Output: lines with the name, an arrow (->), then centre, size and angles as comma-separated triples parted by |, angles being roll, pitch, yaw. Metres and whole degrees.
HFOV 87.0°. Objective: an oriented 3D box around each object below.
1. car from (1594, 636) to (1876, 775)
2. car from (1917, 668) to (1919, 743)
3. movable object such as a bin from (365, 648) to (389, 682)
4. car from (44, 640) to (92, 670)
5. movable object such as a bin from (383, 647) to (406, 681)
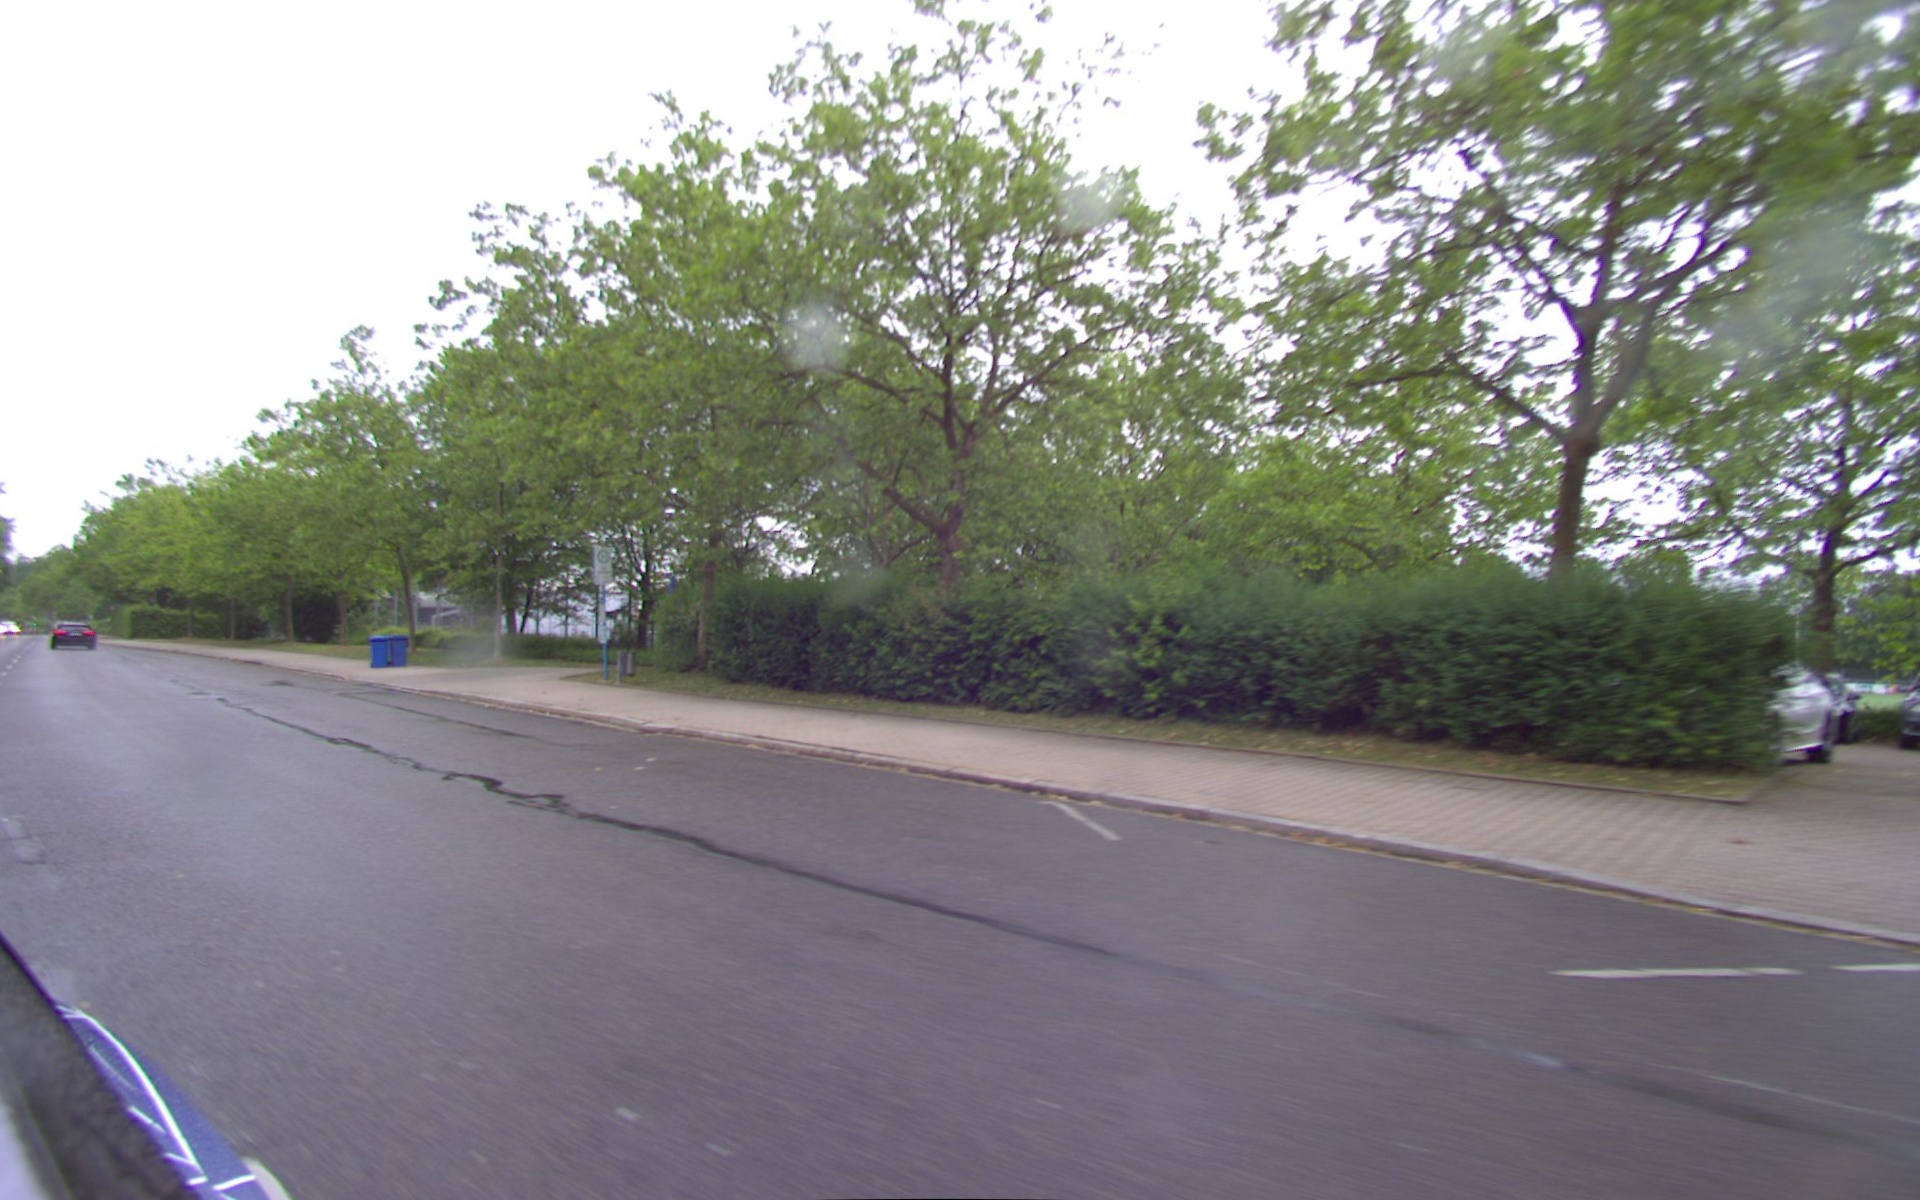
car -> 10.169, 1.349, 13.175 | 4.439, 1.522, 1.804 | 5, -5, -37
car -> 19.260, 2.101, 18.805 | 3.938, 1.522, 1.802 | 6, -6, -42
movable object such as a bin -> -19.601, 2.177, 34.010 | 0.559, 1.107, 0.673 | -1, -1, -41
car -> -47.060, 2.877, 53.378 | 1.804, 1.476, 4.005 | 3, -3, -42
movable object such as a bin -> -19.343, 2.171, 34.618 | 0.559, 1.107, 0.673 | -1, -1, -41
